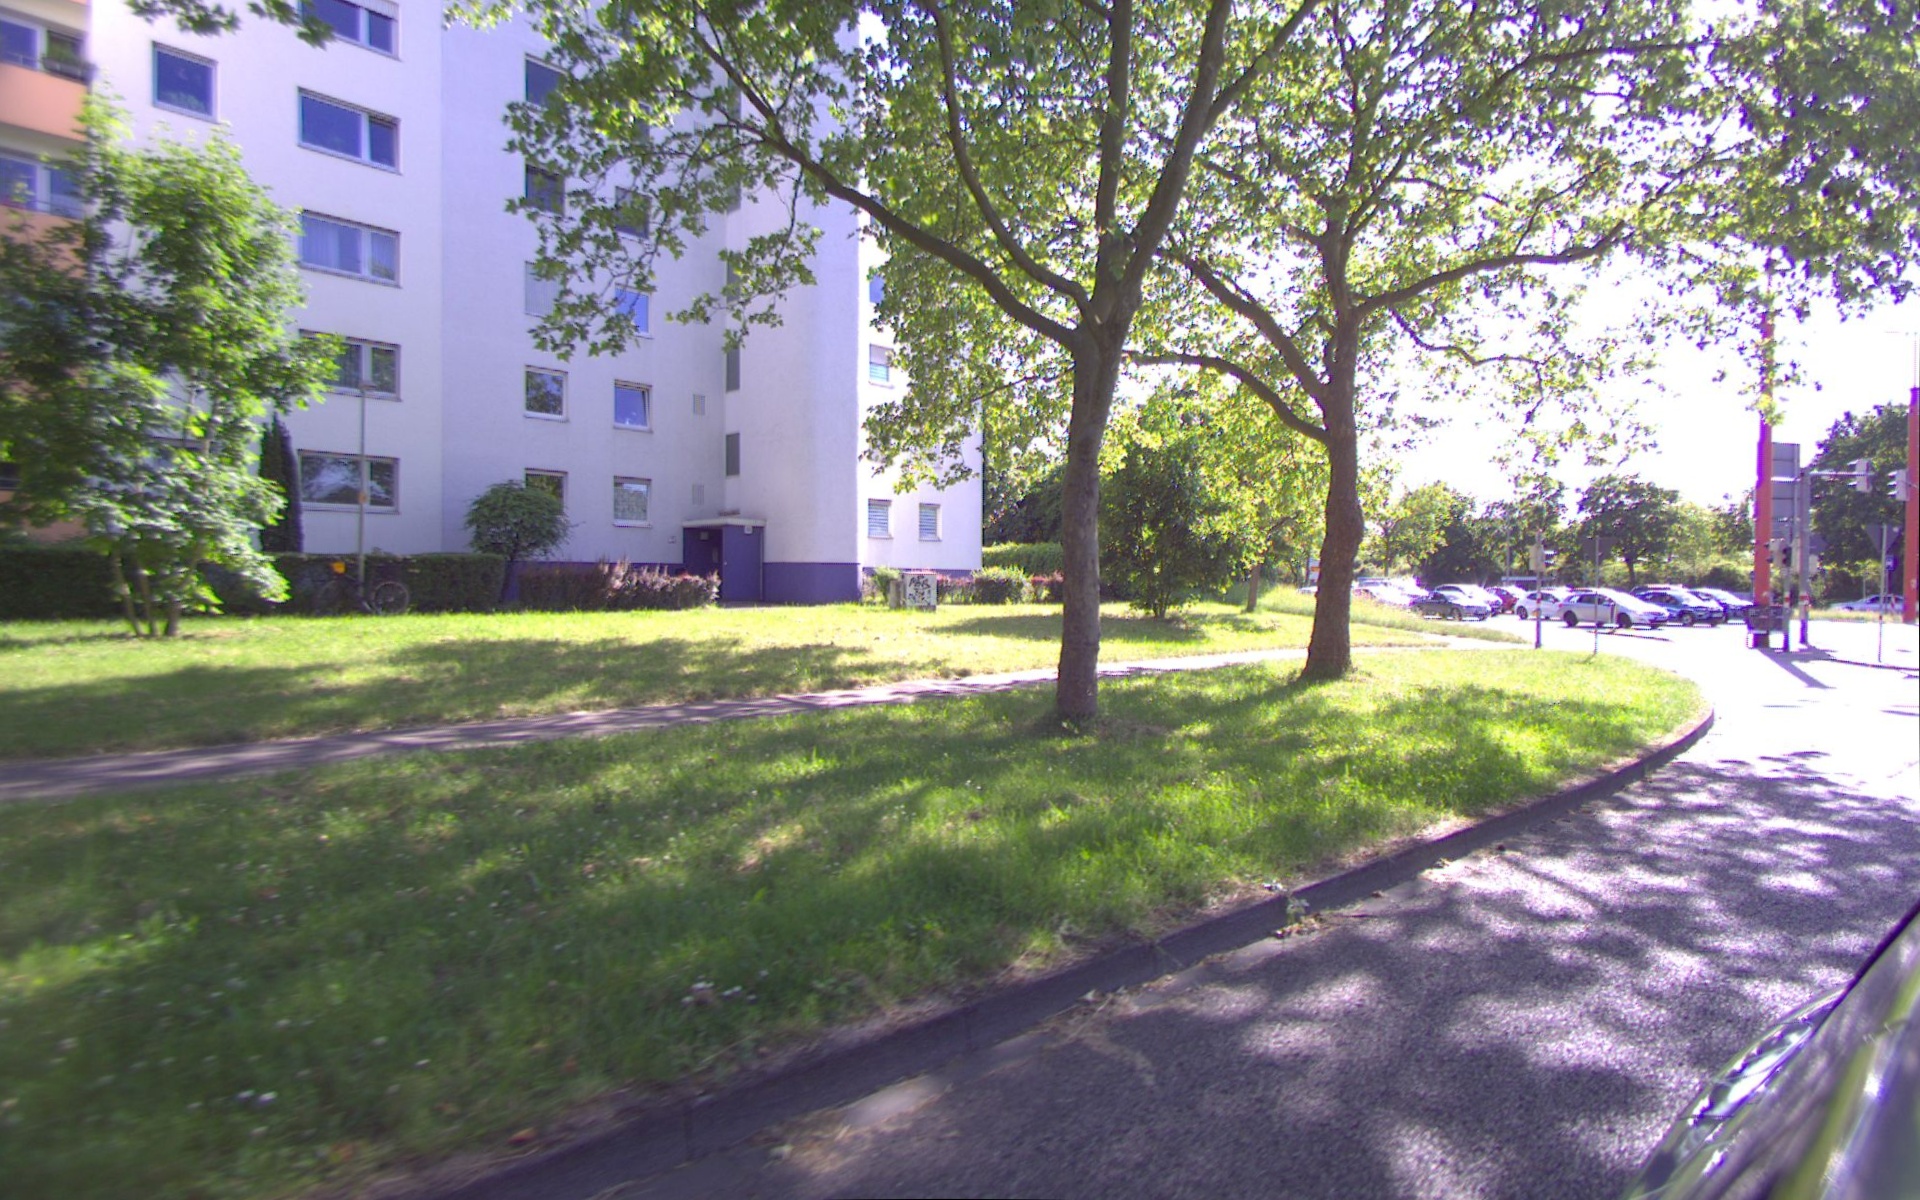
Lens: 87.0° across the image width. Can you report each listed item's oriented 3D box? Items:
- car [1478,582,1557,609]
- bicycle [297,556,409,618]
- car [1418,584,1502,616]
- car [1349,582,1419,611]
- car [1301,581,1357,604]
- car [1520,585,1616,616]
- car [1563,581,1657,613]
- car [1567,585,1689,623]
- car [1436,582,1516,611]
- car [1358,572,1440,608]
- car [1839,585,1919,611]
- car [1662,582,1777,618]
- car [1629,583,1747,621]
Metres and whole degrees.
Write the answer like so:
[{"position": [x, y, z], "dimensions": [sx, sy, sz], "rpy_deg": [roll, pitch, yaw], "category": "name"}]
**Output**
[{"position": [31.916, -0.289, 58.075], "dimensions": [1.762, 1.500, 4.008], "rpy_deg": [-1, 1, -13], "category": "car"}, {"position": [-11.728, -0.253, 19.592], "dimensions": [0.499, 1.120, 1.772], "rpy_deg": [7, 5, 42], "category": "bicycle"}, {"position": [25.668, -0.039, 52.087], "dimensions": [1.762, 1.529, 4.008], "rpy_deg": [-1, 1, -13], "category": "car"}, {"position": [24.557, -0.241, 58.766], "dimensions": [1.762, 1.604, 4.008], "rpy_deg": [-1, 1, -13], "category": "car"}, {"position": [25.790, -0.530, 70.810], "dimensions": [1.762, 1.529, 4.008], "rpy_deg": [-1, 1, -13], "category": "car"}, {"position": [30.108, -0.021, 50.244], "dimensions": [1.762, 1.409, 4.008], "rpy_deg": [-1, 1, -13], "category": "car"}, {"position": [33.581, -0.191, 52.443], "dimensions": [1.762, 1.529, 4.008], "rpy_deg": [-1, 1, -13], "category": "car"}, {"position": [28.244, 0.130, 42.961], "dimensions": [1.762, 1.500, 4.294], "rpy_deg": [-1, 1, -13], "category": "car"}, {"position": [28.633, -0.214, 56.284], "dimensions": [1.762, 1.525, 4.008], "rpy_deg": [-1, 1, -13], "category": "car"}, {"position": [27.422, -0.663, 63.404], "dimensions": [2.049, 2.113, 5.204], "rpy_deg": [-1, 1, -13], "category": "car"}, {"position": [56.628, -0.142, 61.500], "dimensions": [4.607, 1.529, 1.778], "rpy_deg": [1, 1, 34], "category": "car"}, {"position": [34.606, -0.036, 46.268], "dimensions": [1.762, 1.500, 4.008], "rpy_deg": [-1, 1, -13], "category": "car"}, {"position": [31.699, 0.053, 44.223], "dimensions": [1.762, 1.500, 4.008], "rpy_deg": [-1, 1, -13], "category": "car"}]
